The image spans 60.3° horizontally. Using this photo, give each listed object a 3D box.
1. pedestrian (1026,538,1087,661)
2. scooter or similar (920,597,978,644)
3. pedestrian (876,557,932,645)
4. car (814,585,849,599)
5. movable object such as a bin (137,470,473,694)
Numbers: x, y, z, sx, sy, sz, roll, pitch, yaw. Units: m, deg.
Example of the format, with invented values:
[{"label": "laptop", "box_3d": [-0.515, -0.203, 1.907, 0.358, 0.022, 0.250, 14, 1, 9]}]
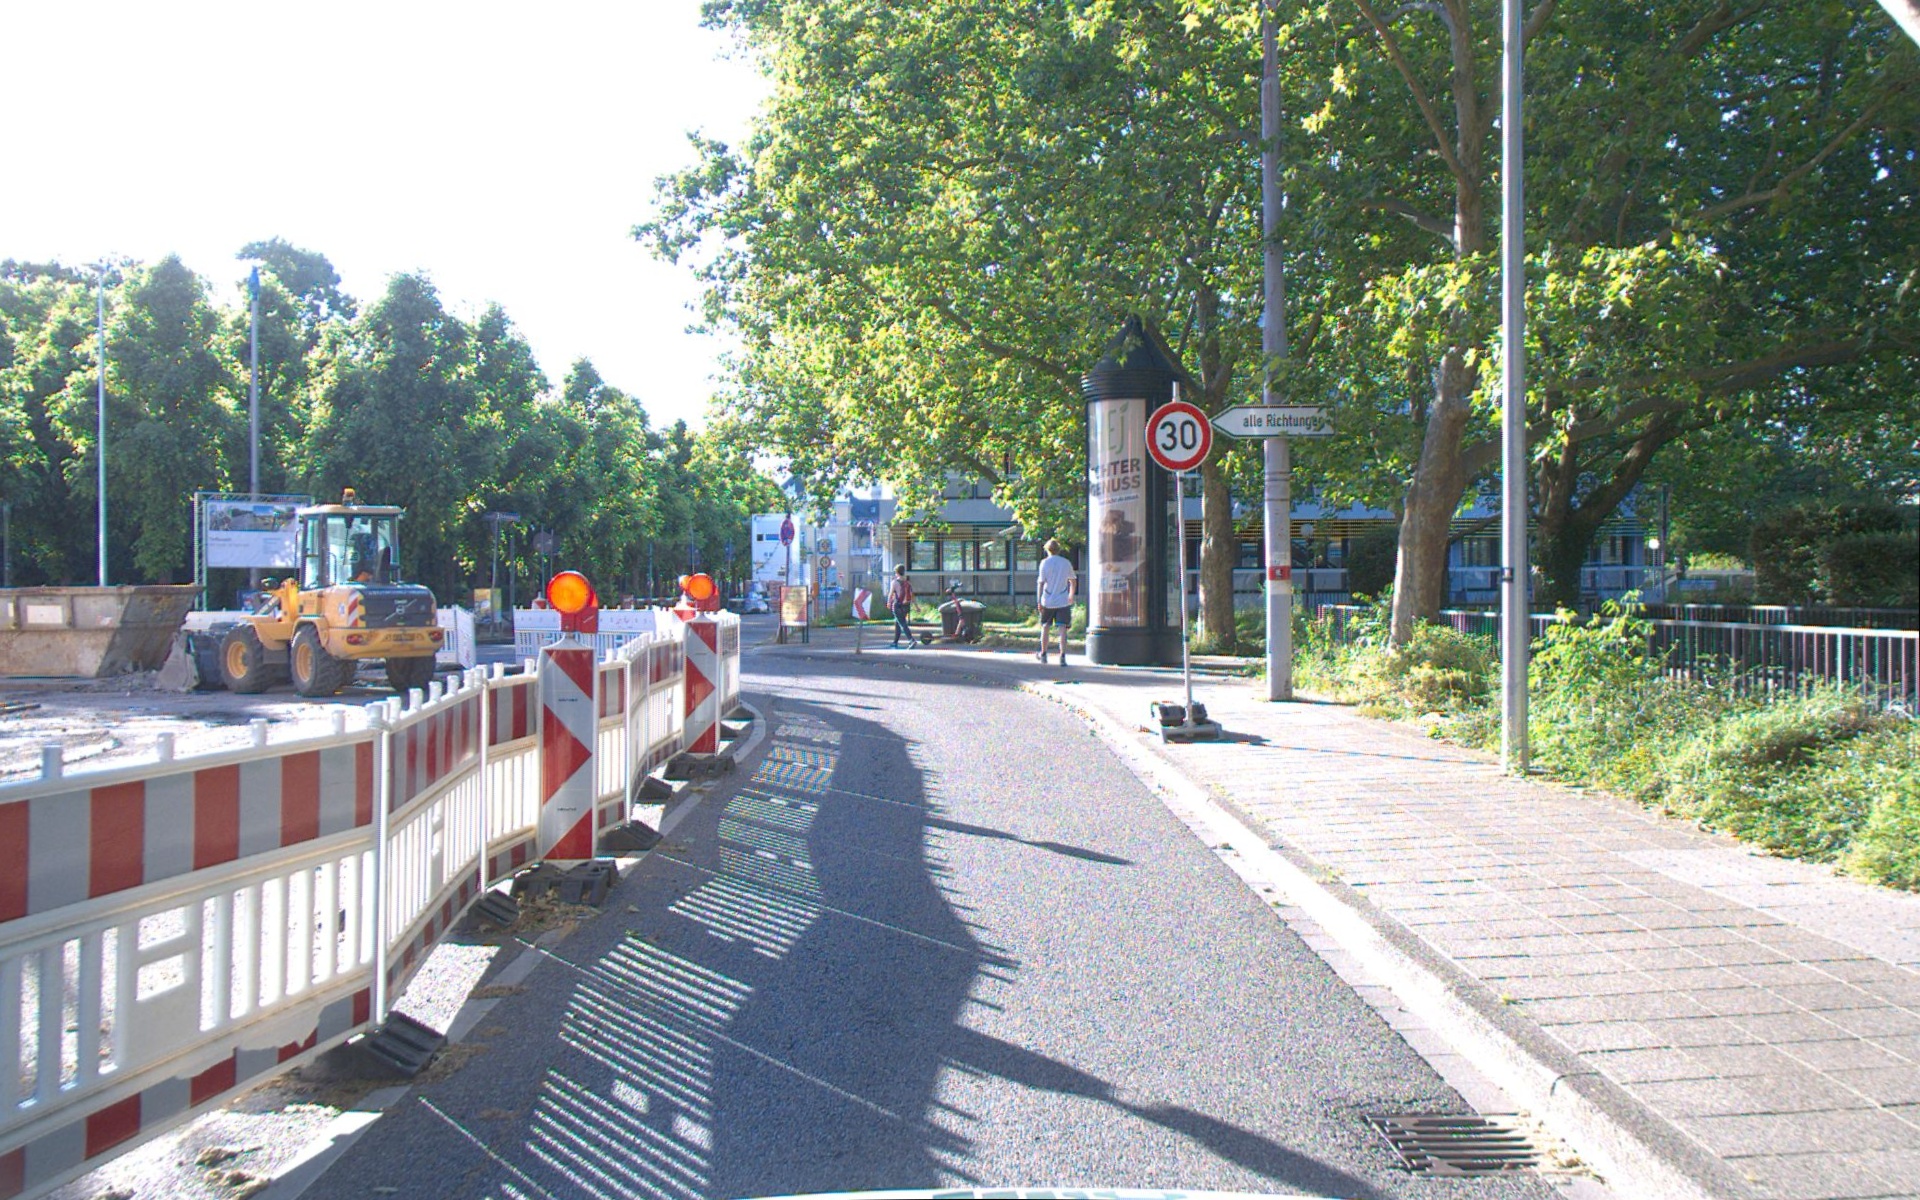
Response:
[{"label": "pedestrian", "box_3d": [1.487, -0.018, 25.579, 0.730, 1.844, 1.132, 1, 0, -6]}, {"label": "scooter or similar", "box_3d": [-0.224, 0.422, 34.366, 1.126, 0.930, 0.418, -2, -1, -9]}, {"label": "pedestrian", "box_3d": [-1.070, 0.016, 31.616, 0.701, 1.651, 0.928, 0, 0, -33]}, {"label": "car", "box_3d": [-17.136, -1.055, 220.599, 4.466, 1.822, 1.999, 0, 0, -3]}, {"label": "movable object such as a bin", "box_3d": [-10.271, -0.250, 25.676, 5.827, 3.084, 2.551, -1, 1, 43]}]
